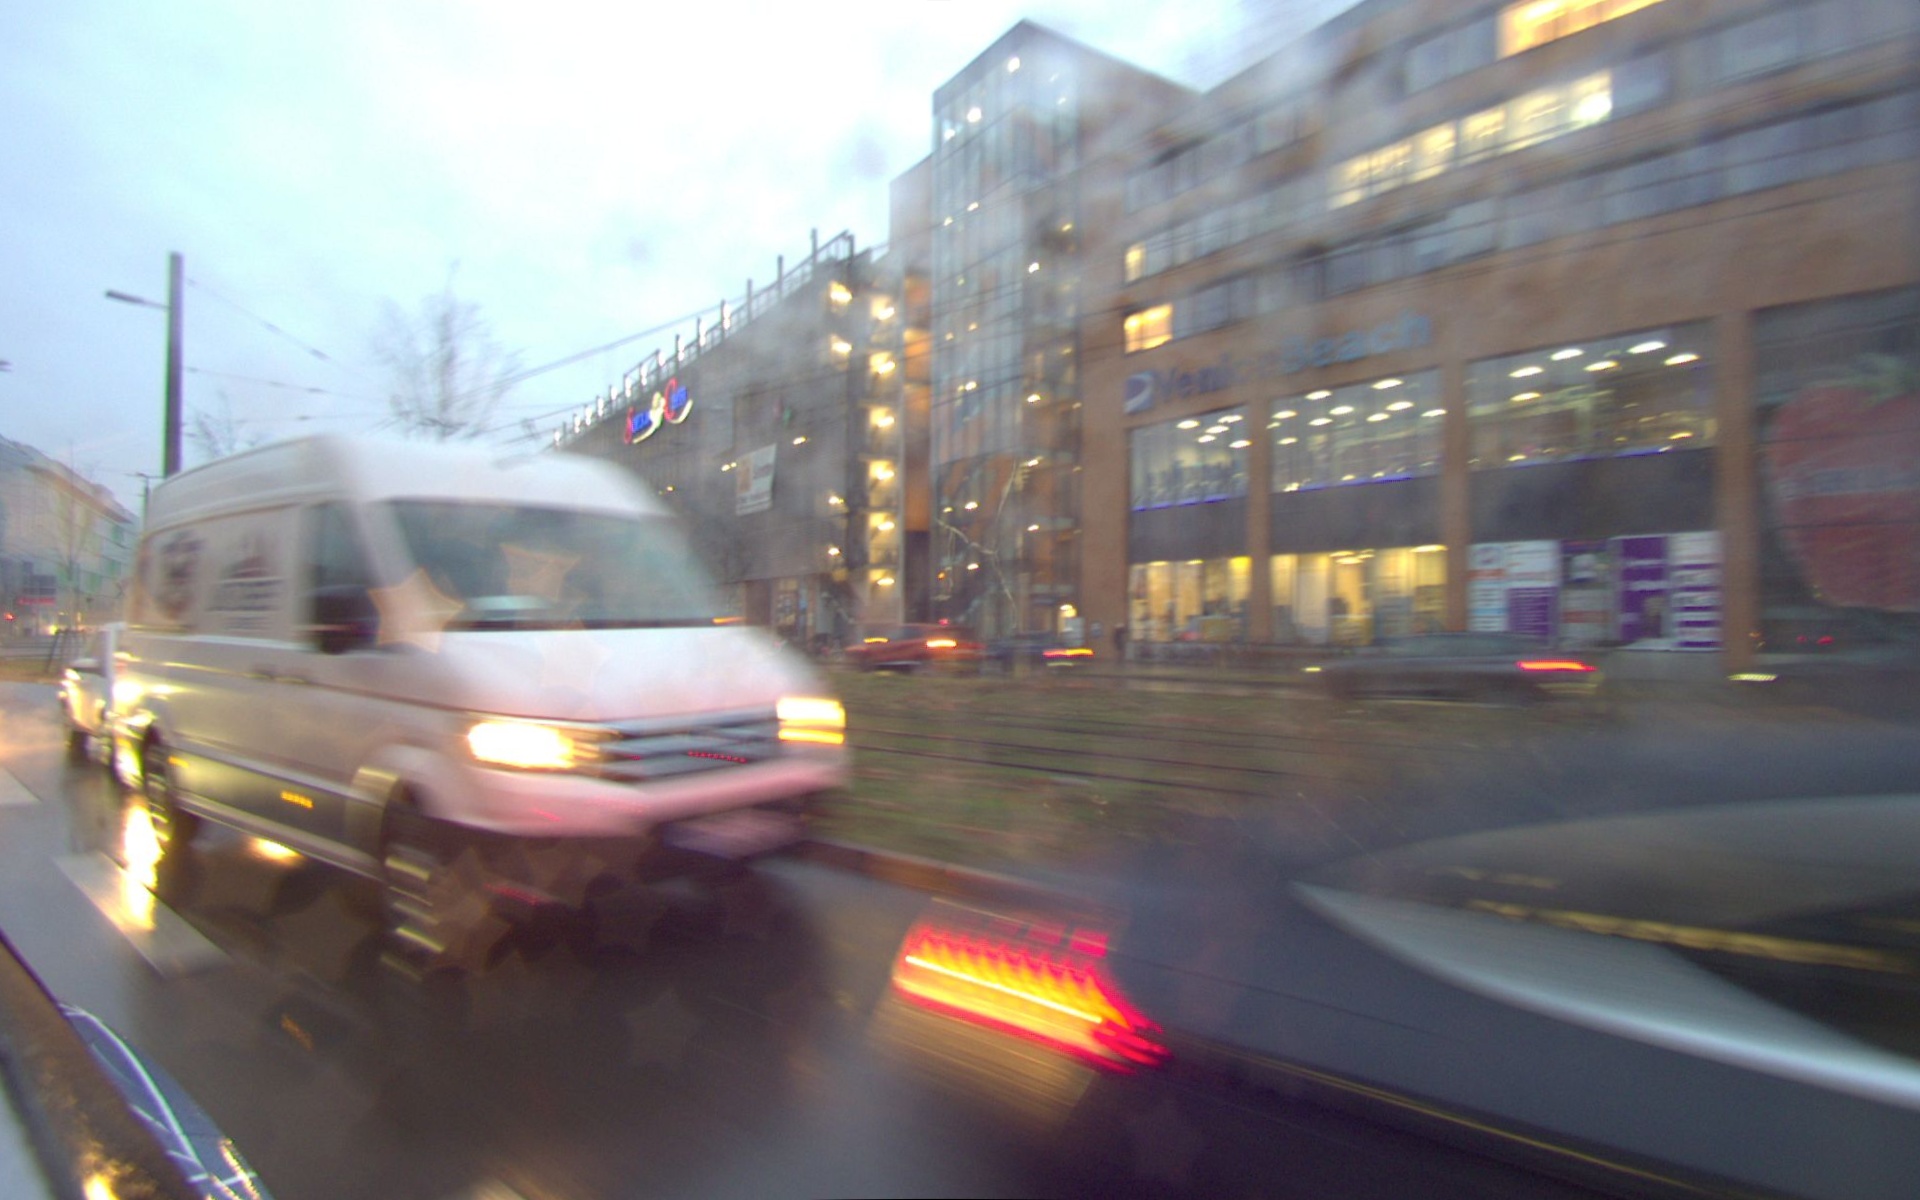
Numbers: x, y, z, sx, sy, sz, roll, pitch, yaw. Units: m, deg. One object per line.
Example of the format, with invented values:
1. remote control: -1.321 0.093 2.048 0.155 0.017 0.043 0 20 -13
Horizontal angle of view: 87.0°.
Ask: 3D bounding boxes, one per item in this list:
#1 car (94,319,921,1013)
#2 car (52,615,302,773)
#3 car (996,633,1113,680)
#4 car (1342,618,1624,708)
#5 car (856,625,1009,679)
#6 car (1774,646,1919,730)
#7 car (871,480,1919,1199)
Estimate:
1. car: -3.158 0.292 6.172 5.964 2.446 1.975 -1 -2 37
2. car: -9.001 0.970 11.540 3.684 1.507 1.621 -2 -3 42
3. car: 2.988 1.773 32.451 3.548 1.412 1.490 -1 -2 42
4. car: 9.528 1.077 18.611 4.310 1.461 1.974 -1 -2 39
5. car: -0.811 1.404 28.285 4.195 1.403 1.712 -1 -2 40
6. car: 17.917 1.628 18.718 4.415 1.461 1.615 -1 -2 40
7. car: 1.680 0.676 1.122 3.465 1.531 1.503 0 -1 38
